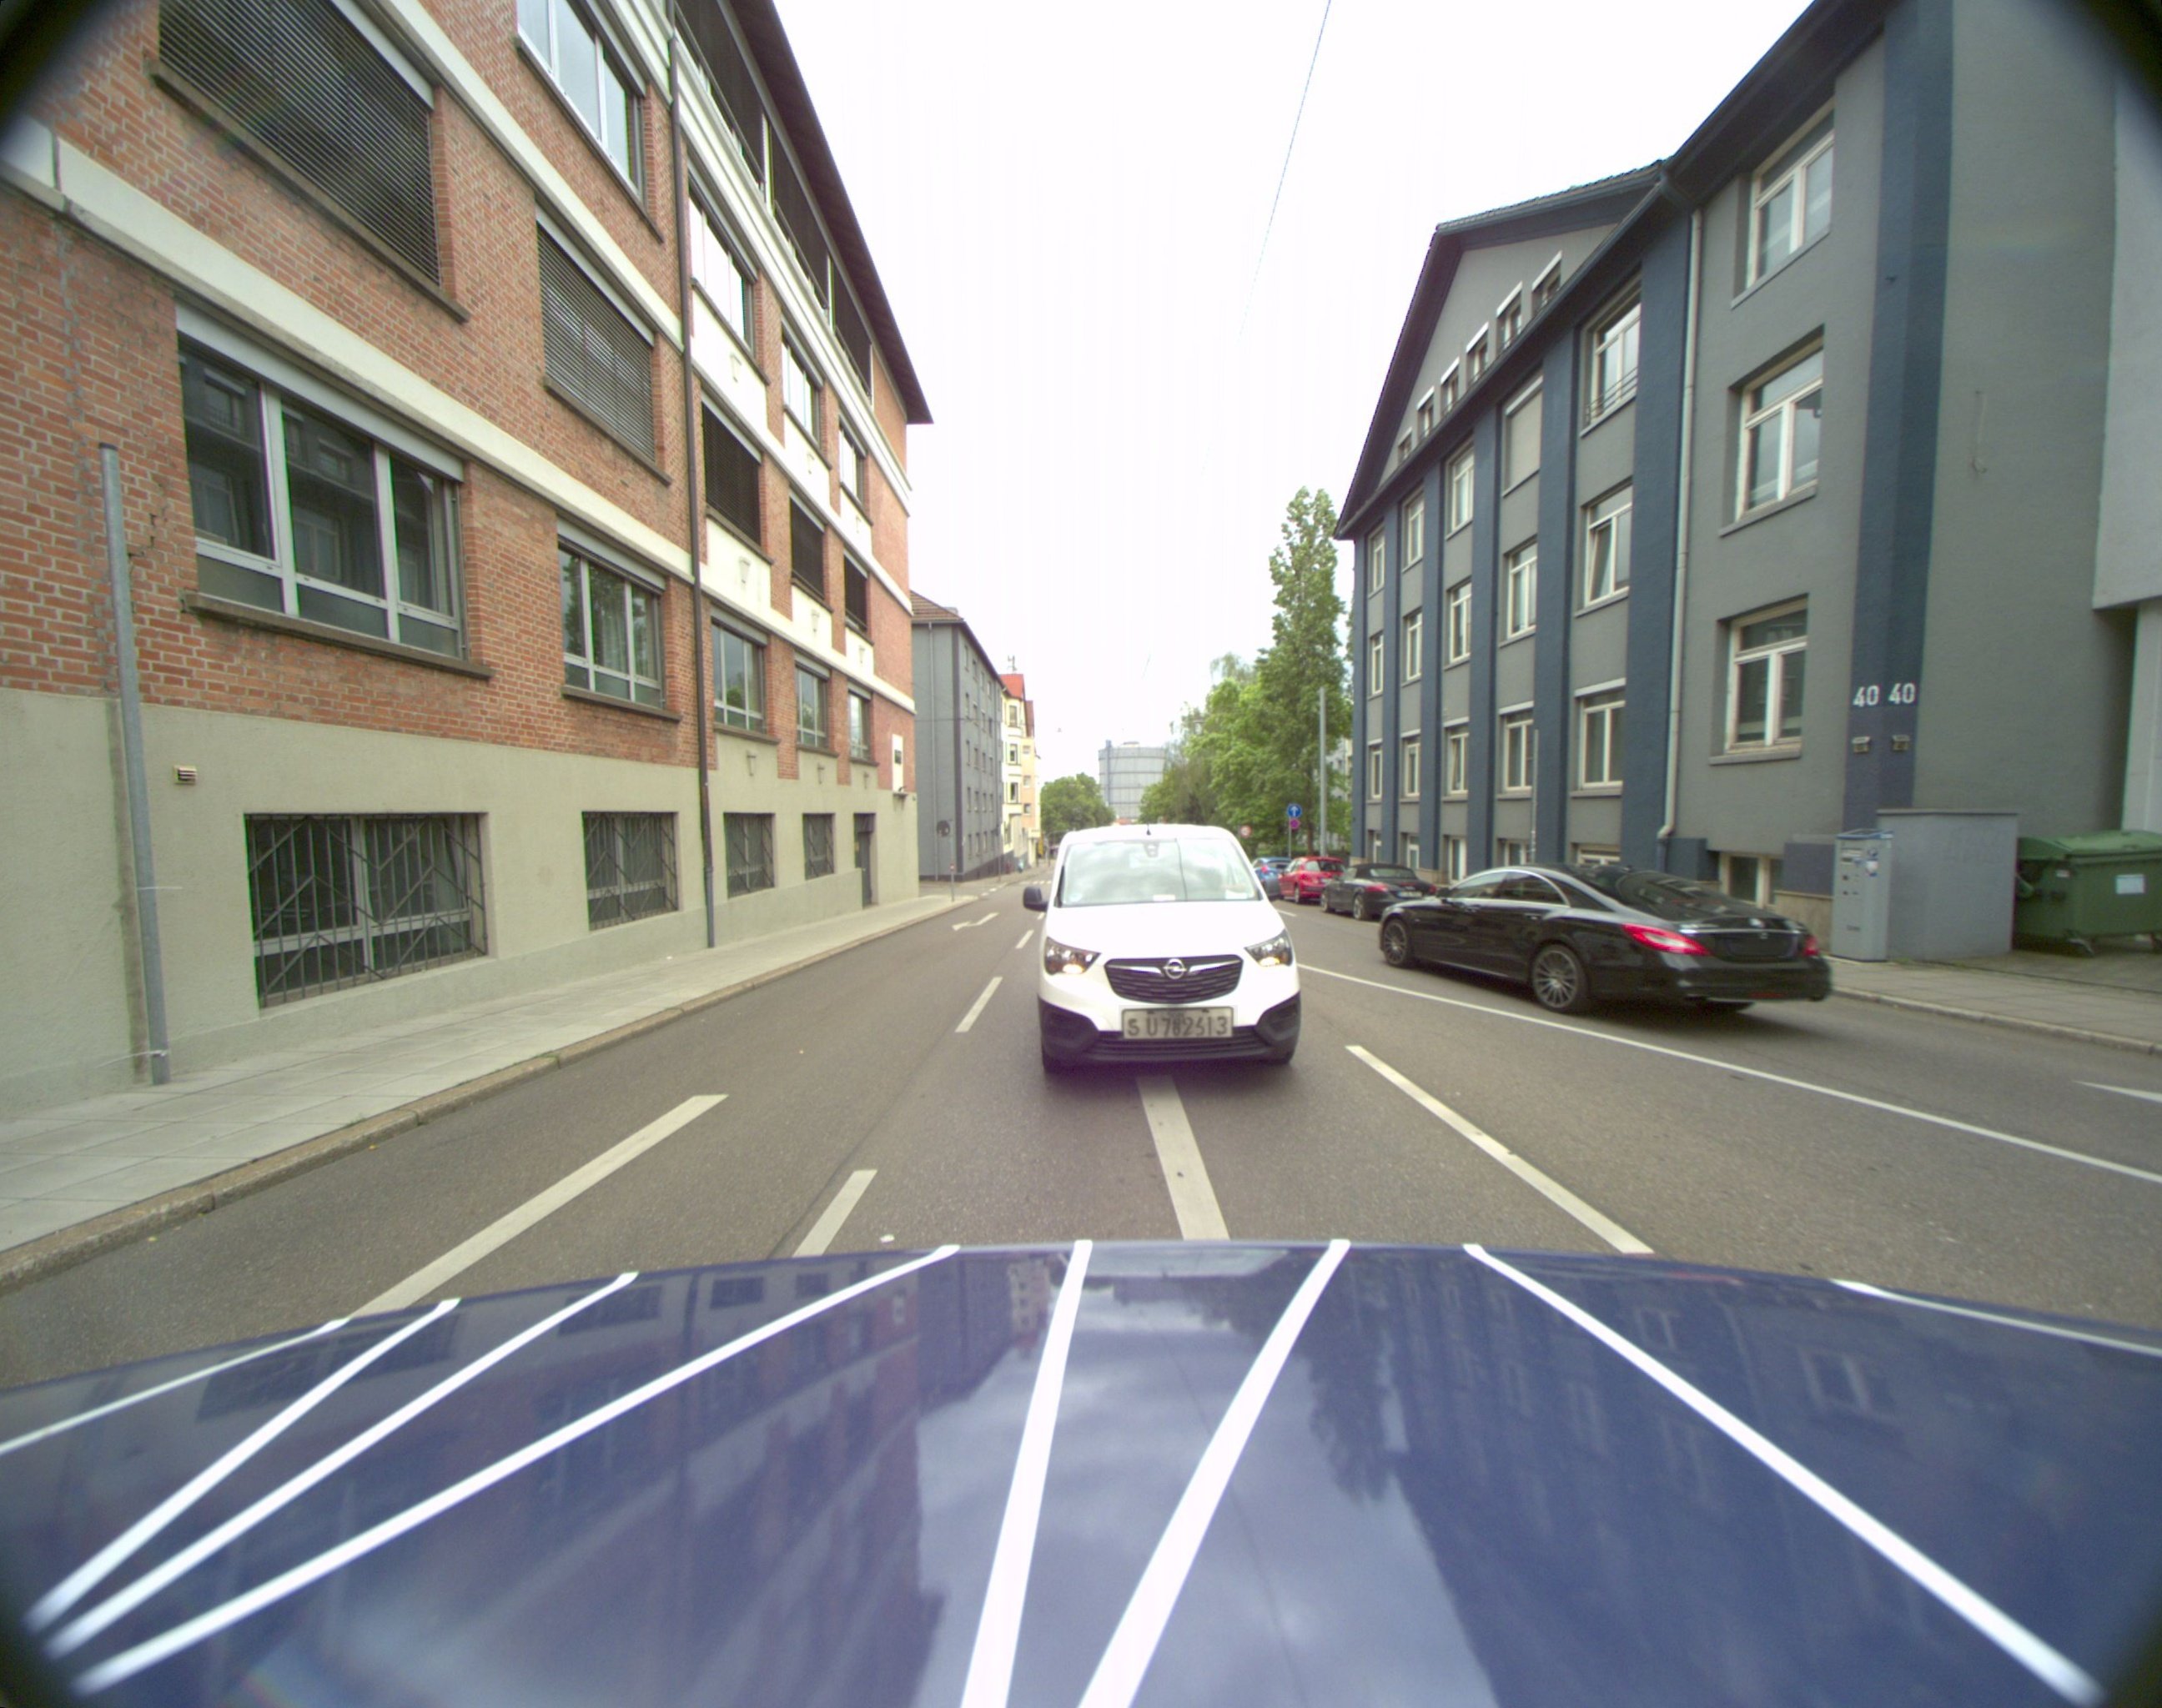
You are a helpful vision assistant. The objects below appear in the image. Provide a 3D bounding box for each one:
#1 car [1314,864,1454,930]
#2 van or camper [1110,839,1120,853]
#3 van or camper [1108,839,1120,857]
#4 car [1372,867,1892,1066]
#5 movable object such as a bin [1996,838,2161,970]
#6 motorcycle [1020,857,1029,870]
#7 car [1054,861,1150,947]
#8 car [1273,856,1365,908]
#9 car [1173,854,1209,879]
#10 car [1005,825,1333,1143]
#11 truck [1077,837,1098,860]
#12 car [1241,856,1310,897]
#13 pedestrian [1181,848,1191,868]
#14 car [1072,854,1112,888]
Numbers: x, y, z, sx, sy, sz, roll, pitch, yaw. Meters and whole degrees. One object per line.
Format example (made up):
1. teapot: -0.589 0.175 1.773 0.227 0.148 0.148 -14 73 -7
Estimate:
1. car: 7.190 0.952 18.512 1.724 1.319 4.041 2 0 -1
2. van or camper: 6.735 -1.513 149.776 1.914 2.754 5.925 1 0 2
3. van or camper: 5.192 -0.986 119.926 1.914 2.754 5.925 1 0 2
4. car: 5.180 0.915 8.187 1.791 1.410 4.667 1 0 -7
5. movable object such as a bin: 12.085 0.573 9.090 1.267 1.448 0.784 -3 2 4
6. motorcycle: -5.091 0.826 68.345 0.566 1.105 1.653 4 0 2
7. car: 0.428 0.922 15.563 1.724 1.486 3.727 1 0 2
8. car: 7.519 0.841 24.373 1.819 1.465 3.869 2 0 2
9. car: 6.804 0.752 47.234 1.677 1.392 3.794 2 0 1
10. car: 0.561 0.755 6.908 1.840 1.797 4.939 -2 0 1
11. truck: 1.069 -0.873 118.313 2.980 3.394 9.358 -2 0 1
12. car: 7.547 0.833 29.837 1.724 1.445 3.727 1 0 0
13. pedestrian: 9.930 0.393 71.822 0.746 1.839 0.776 -1 1 2
14. car: 0.543 0.754 35.626 1.724 1.486 3.727 1 0 2
